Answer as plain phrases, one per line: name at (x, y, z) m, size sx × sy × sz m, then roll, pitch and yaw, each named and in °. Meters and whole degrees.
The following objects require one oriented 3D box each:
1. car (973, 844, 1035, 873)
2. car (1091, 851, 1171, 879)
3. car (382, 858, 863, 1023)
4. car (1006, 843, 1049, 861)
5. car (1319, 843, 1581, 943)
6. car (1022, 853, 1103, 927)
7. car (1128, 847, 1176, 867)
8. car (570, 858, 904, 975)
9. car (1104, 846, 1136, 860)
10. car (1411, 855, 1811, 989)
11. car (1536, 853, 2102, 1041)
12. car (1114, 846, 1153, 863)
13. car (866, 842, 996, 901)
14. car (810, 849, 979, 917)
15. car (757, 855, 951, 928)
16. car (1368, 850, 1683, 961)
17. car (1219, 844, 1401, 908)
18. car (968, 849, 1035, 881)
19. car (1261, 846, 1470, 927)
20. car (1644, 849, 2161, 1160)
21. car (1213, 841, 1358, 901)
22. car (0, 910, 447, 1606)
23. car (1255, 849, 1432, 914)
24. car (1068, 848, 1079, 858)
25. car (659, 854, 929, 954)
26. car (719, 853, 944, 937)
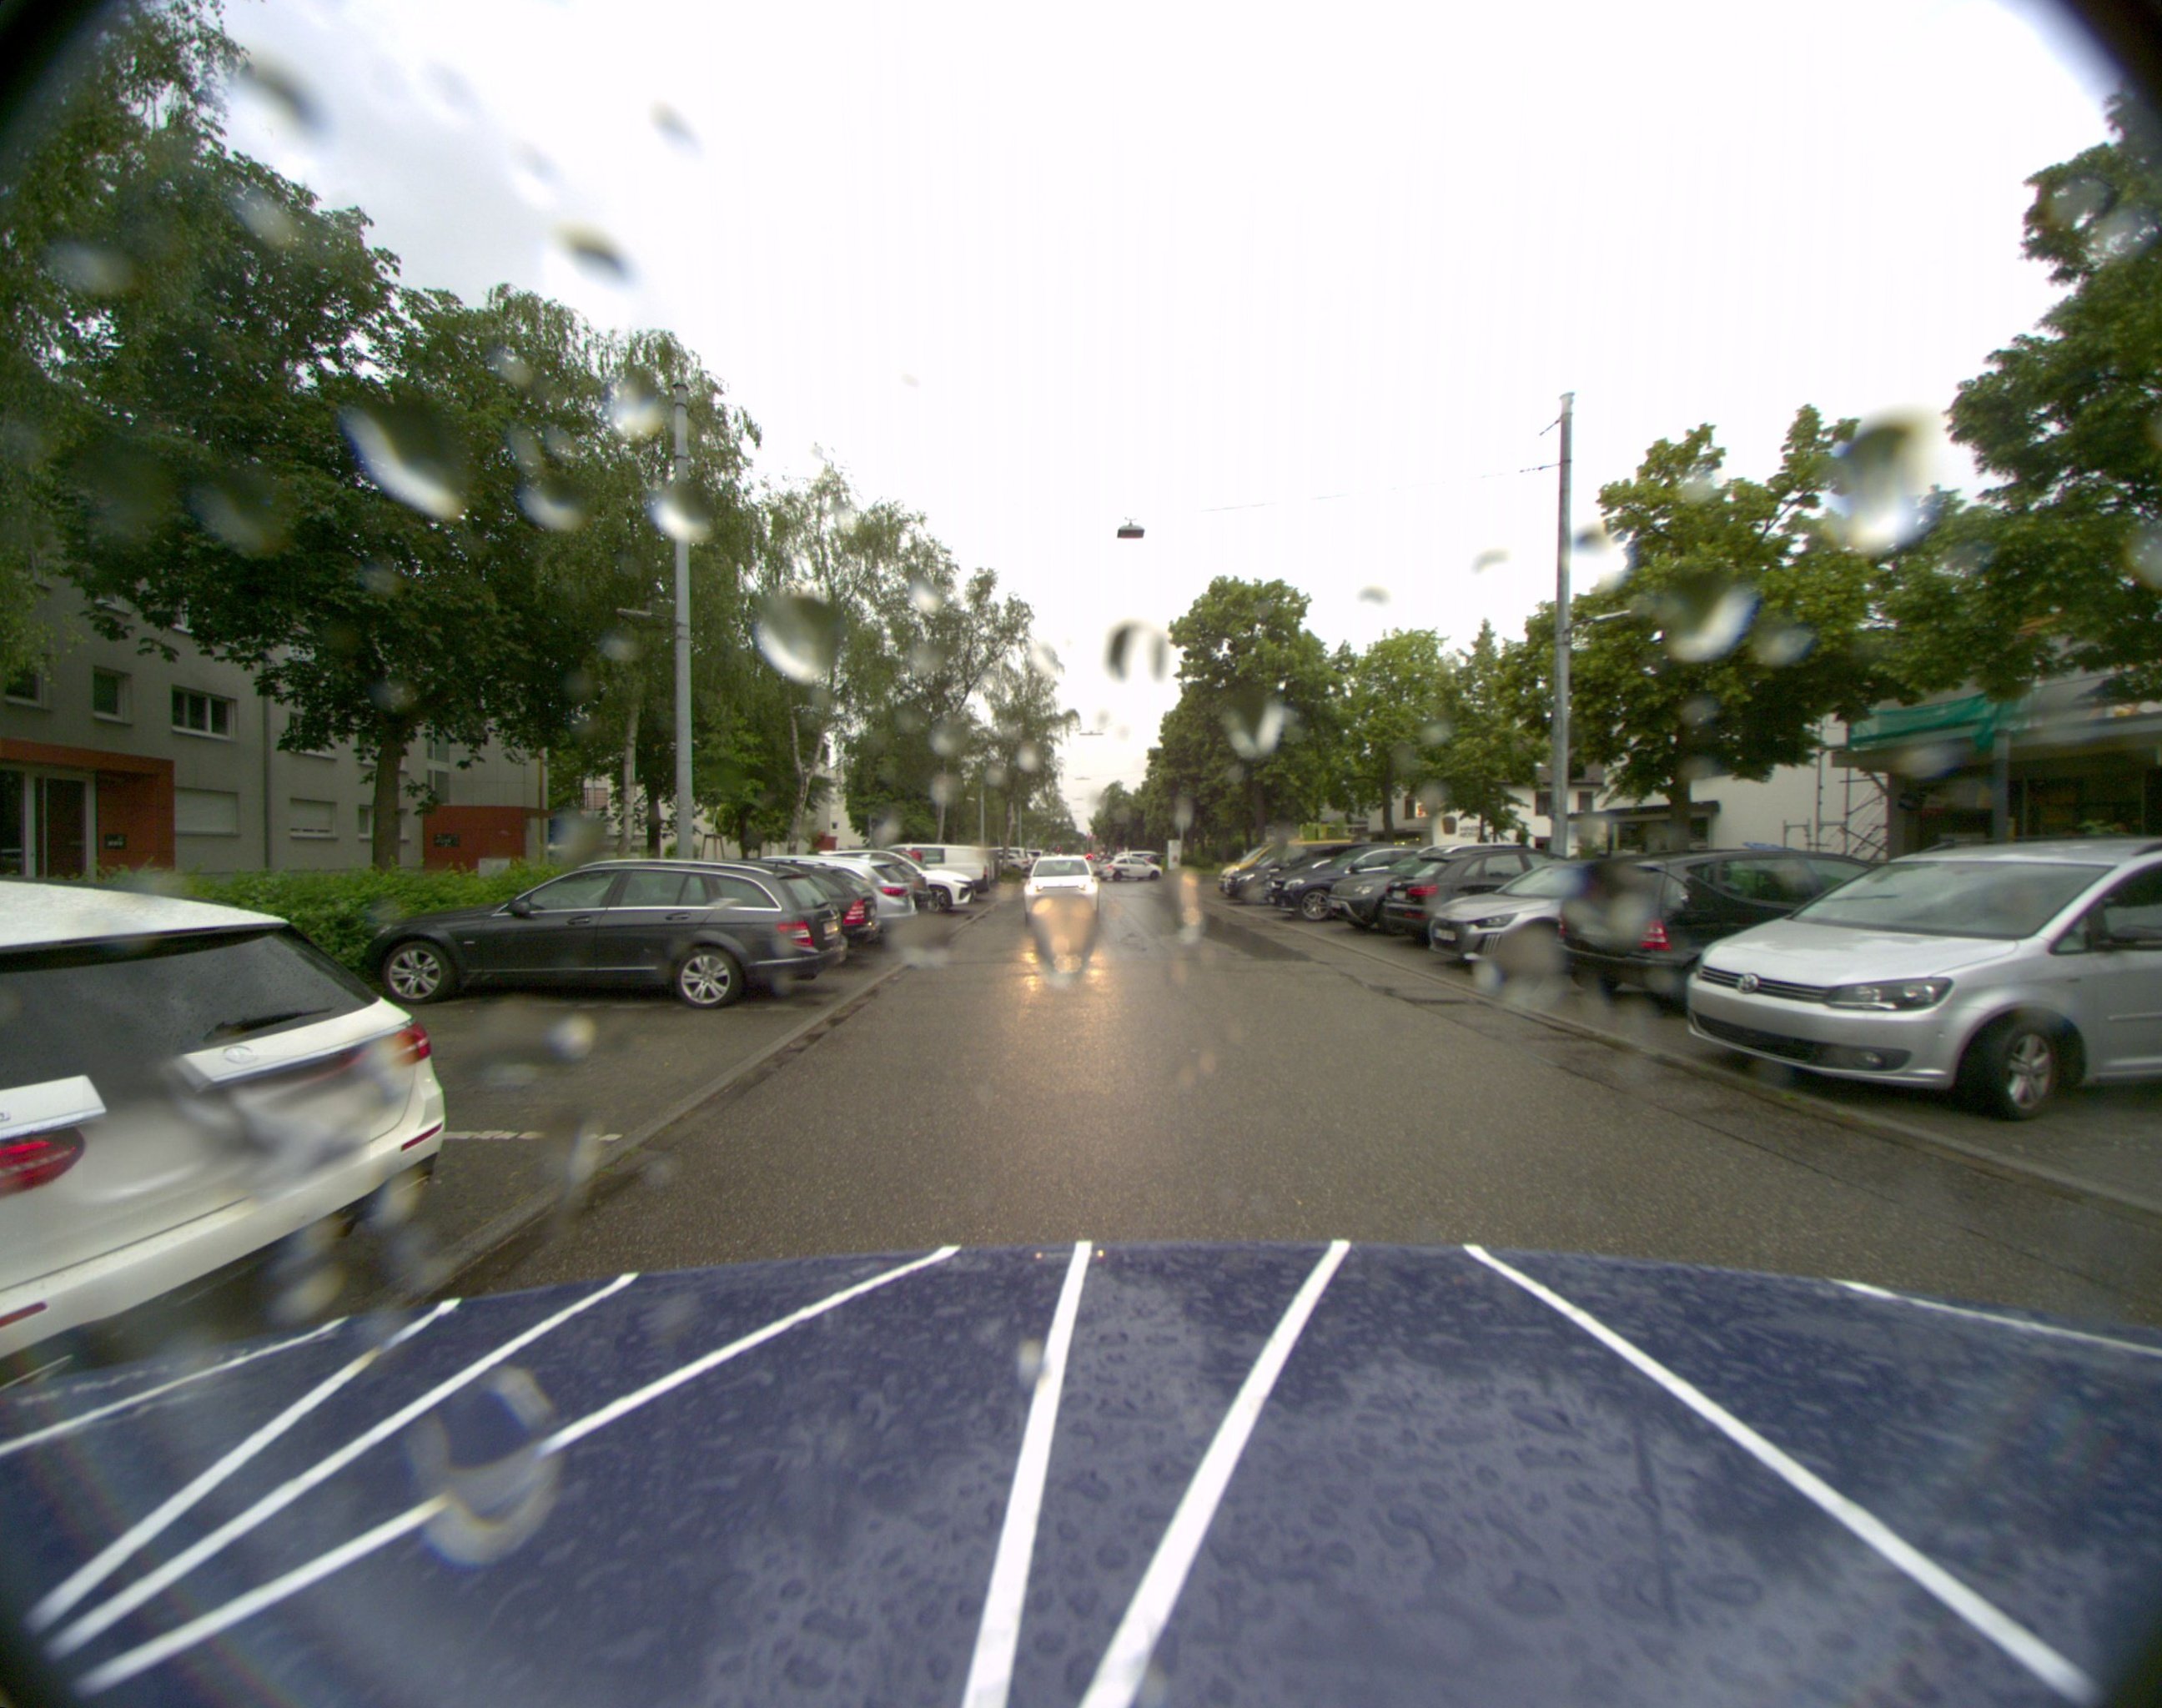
car at (-5.459, 0.288, 54.088) m, size 3.995 × 1.902 × 1.902 m, roll -2°, pitch 1°, yaw 4°
car at (2.928, 0.621, 44.437) m, size 4.264 × 1.446 × 1.995 m, roll -3°, pitch 1°, yaw -33°
car at (-4.605, 0.849, 8.112) m, size 4.049 × 1.431 × 1.680 m, roll 2°, pitch 1°, yaw -3°
car at (-5.263, -0.193, 75.020) m, size 3.995 × 1.670 × 1.902 m, roll -2°, pitch 1°, yaw 4°
car at (7.088, 0.705, 14.864) m, size 4.283 × 1.717 × 1.715 m, roll -2°, pitch 1°, yaw -2°
car at (-0.419, 0.800, 18.923) m, size 1.733 × 1.519 × 4.138 m, roll -2°, pitch 1°, yaw 0°
car at (6.395, 0.263, 68.882) m, size 3.998 × 1.675 × 1.999 m, roll -2°, pitch 1°, yaw -3°
car at (-4.799, 0.853, 11.052) m, size 4.049 × 1.431 × 1.680 m, roll 2°, pitch 1°, yaw -3°
car at (5.198, -0.120, 101.610) m, size 3.998 × 1.675 × 1.999 m, roll -2°, pitch 1°, yaw -3°
car at (6.998, 0.838, 10.313) m, size 4.283 × 1.523 × 1.715 m, roll -2°, pitch 1°, yaw -2°
car at (7.259, 0.839, 7.753) m, size 4.283 × 1.556 × 1.635 m, roll -2°, pitch 1°, yaw -2°
car at (5.779, 0.065, 83.750) m, size 3.998 × 1.675 × 1.999 m, roll -2°, pitch 1°, yaw -3°
car at (-5.087, 0.577, 26.184) m, size 4.182 × 1.856 × 1.679 m, roll 2°, pitch 1°, yaw -6°
car at (-5.046, 0.761, 20.905) m, size 4.179 × 1.609 × 1.680 m, roll 2°, pitch 1°, yaw 1°
car at (-5.222, 0.849, 17.895) m, size 4.049 × 1.488 × 1.680 m, roll 2°, pitch 1°, yaw -3°
car at (7.261, 0.788, 12.674) m, size 4.283 × 1.586 × 1.715 m, roll -2°, pitch 1°, yaw -2°
car at (7.111, 0.647, 23.851) m, size 5.177 × 1.789 × 1.715 m, roll -2°, pitch 1°, yaw -2°
car at (-5.116, 0.689, 49.259) m, size 3.995 × 1.902 × 1.902 m, roll -2°, pitch 1°, yaw 4°
car at (6.620, 0.717, 17.942) m, size 4.283 × 1.717 × 1.715 m, roll -2°, pitch 1°, yaw -2°
car at (6.611, 0.842, 5.210) m, size 4.283 × 1.625 × 1.715 m, roll -2°, pitch 1°, yaw -2°
car at (7.176, 0.576, 26.936) m, size 4.657 × 1.947 × 1.715 m, roll -2°, pitch 1°, yaw -2°
car at (-4.757, 0.917, 2.065) m, size 4.623 × 1.431 × 1.680 m, roll 2°, pitch 1°, yaw 0°
car at (7.183, 0.724, 21.063) m, size 4.283 × 1.617 × 1.715 m, roll -2°, pitch 1°, yaw -2°
car at (-1.404, -0.263, 150.919) m, size 1.998 × 1.804 × 3.999 m, roll -2°, pitch 1°, yaw 1°
car at (-4.857, 0.823, 13.302) m, size 4.049 × 1.488 × 1.680 m, roll 2°, pitch 1°, yaw -3°
car at (-5.000, 0.798, 15.623) m, size 4.049 × 1.488 × 1.680 m, roll 2°, pitch 1°, yaw -3°
